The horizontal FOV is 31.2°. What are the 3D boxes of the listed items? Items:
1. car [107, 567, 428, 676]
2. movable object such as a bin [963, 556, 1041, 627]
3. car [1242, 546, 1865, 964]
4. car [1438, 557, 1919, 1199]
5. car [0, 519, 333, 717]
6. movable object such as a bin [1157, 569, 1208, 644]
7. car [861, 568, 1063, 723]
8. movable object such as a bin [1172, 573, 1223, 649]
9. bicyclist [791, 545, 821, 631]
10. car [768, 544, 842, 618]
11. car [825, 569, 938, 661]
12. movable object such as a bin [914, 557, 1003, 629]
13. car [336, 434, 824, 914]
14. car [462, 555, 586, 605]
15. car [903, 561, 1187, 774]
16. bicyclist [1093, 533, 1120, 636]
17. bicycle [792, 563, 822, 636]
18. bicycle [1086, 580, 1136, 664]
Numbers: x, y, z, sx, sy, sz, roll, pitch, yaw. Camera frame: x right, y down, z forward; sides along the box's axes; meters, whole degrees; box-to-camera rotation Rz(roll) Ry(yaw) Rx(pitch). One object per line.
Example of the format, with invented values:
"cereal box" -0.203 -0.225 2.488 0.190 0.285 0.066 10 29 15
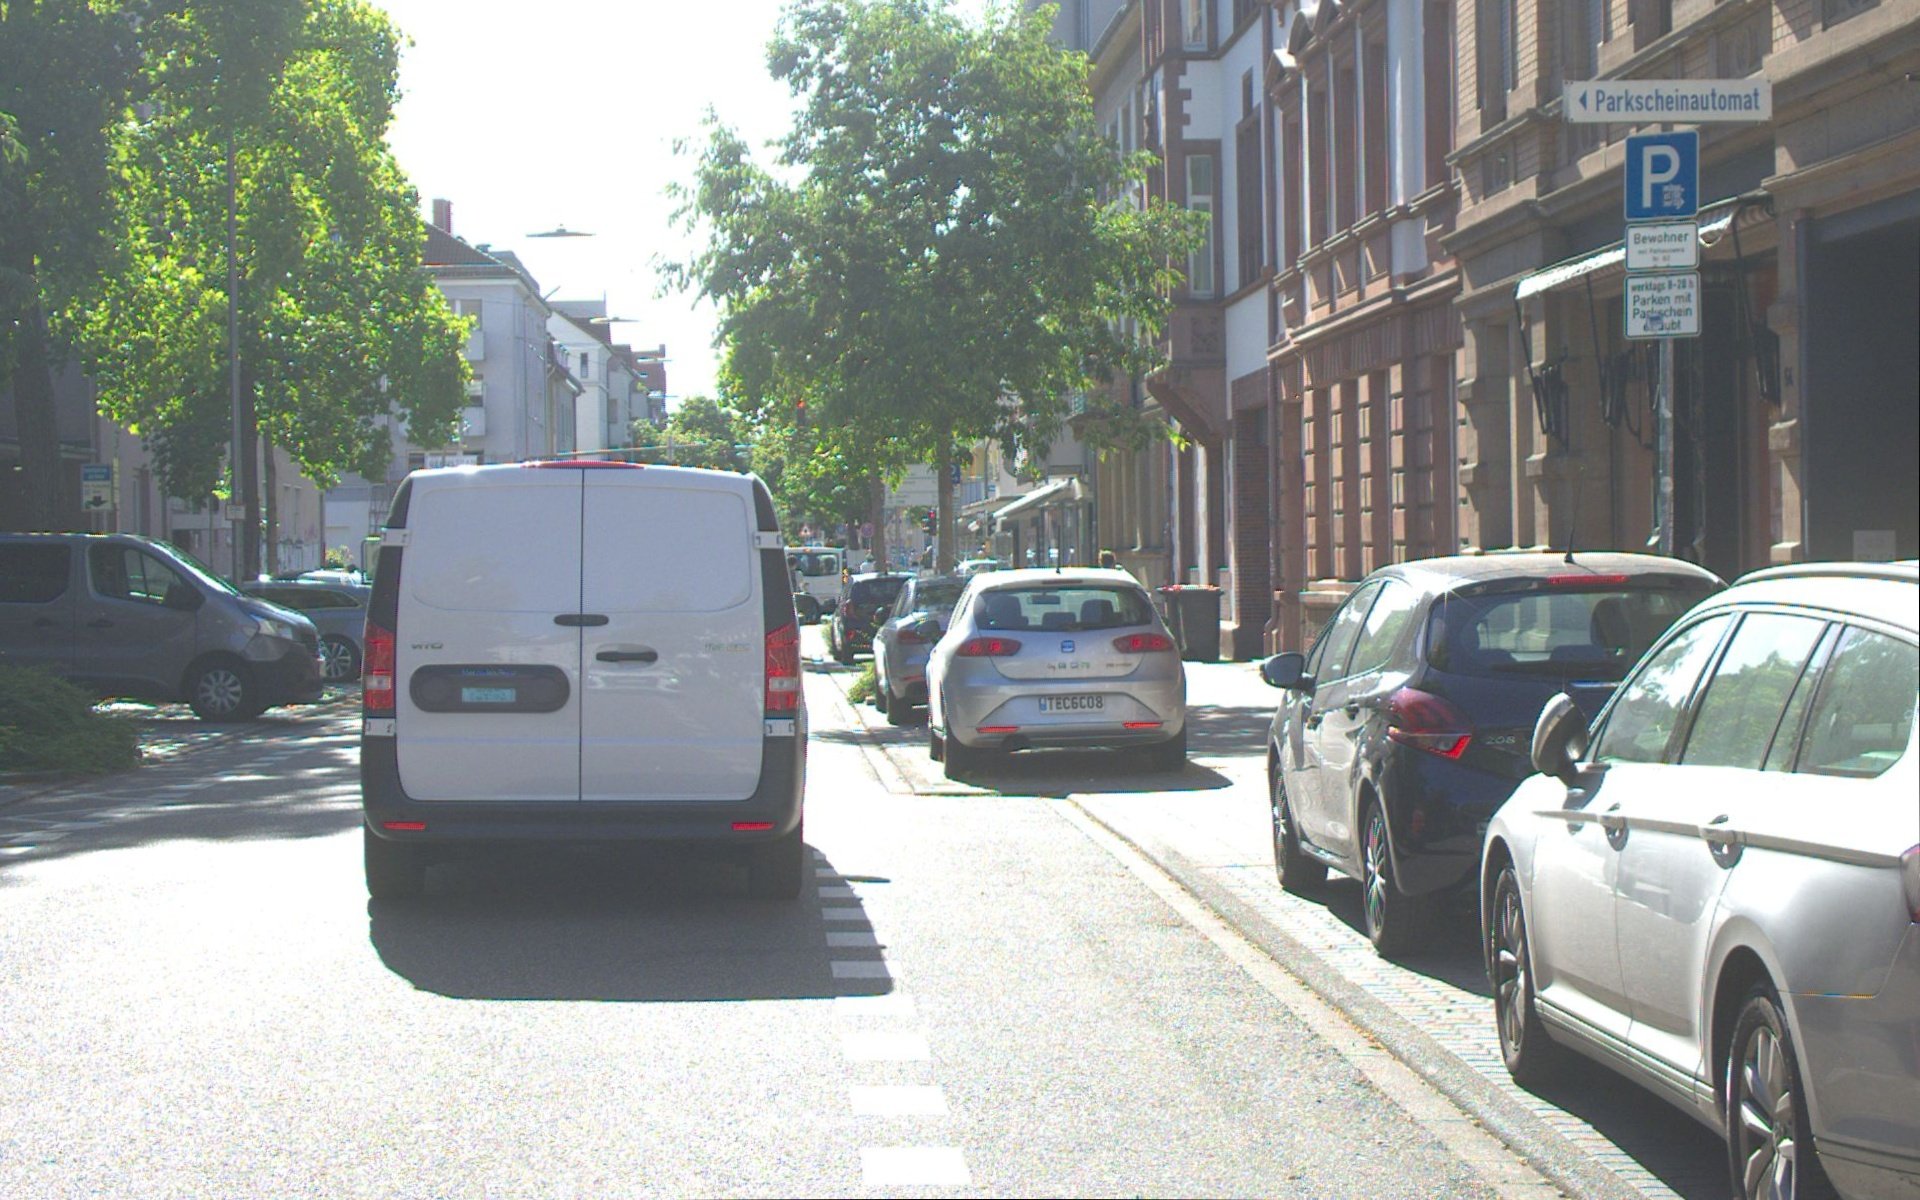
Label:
"car" -10.034 0.301 50.053 4.305 1.455 1.762 1 0 -1
"movable object such as a bin" 0.821 -0.164 66.683 1.040 1.343 1.106 -1 1 36
"car" 2.265 0.531 14.068 1.709 1.475 3.711 0 1 -3
"car" 2.383 0.638 8.041 1.785 1.455 4.517 -1 1 -1
"car" -9.369 0.153 35.979 5.291 1.967 2.016 1 0 -3
"movable object such as a bin" 3.229 0.094 49.889 0.638 1.065 0.632 -1 1 -4
"car" -0.040 0.414 34.721 1.738 1.446 4.308 0 1 -4
"movable object such as a bin" 3.368 0.149 48.739 0.638 1.065 0.639 0 1 -4
"bicyclist" -2.744 -0.215 61.236 0.439 1.503 0.497 -3 1 -4
"car" -4.161 -0.514 91.692 1.815 1.914 4.645 0 1 -4
"car" -1.347 0.222 57.586 1.635 1.471 3.581 -1 1 -5
"movable object such as a bin" -0.027 -0.136 65.644 1.108 1.343 1.268 -1 1 45
"car" -1.882 0.267 16.233 1.920 1.907 4.889 1 1 -9
"car" -14.339 -0.661 113.209 3.986 1.634 2.000 0 1 -6
"car" 0.553 0.437 25.569 1.738 1.446 4.001 0 1 -4
"bicyclist" 2.106 -0.227 49.593 0.361 1.472 0.530 1 0 1
"bicycle" -2.730 -0.017 61.155 0.475 1.270 1.218 -1 1 -4
"bicycle" 2.159 0.311 49.337 0.536 1.145 2.124 -5 0 0
